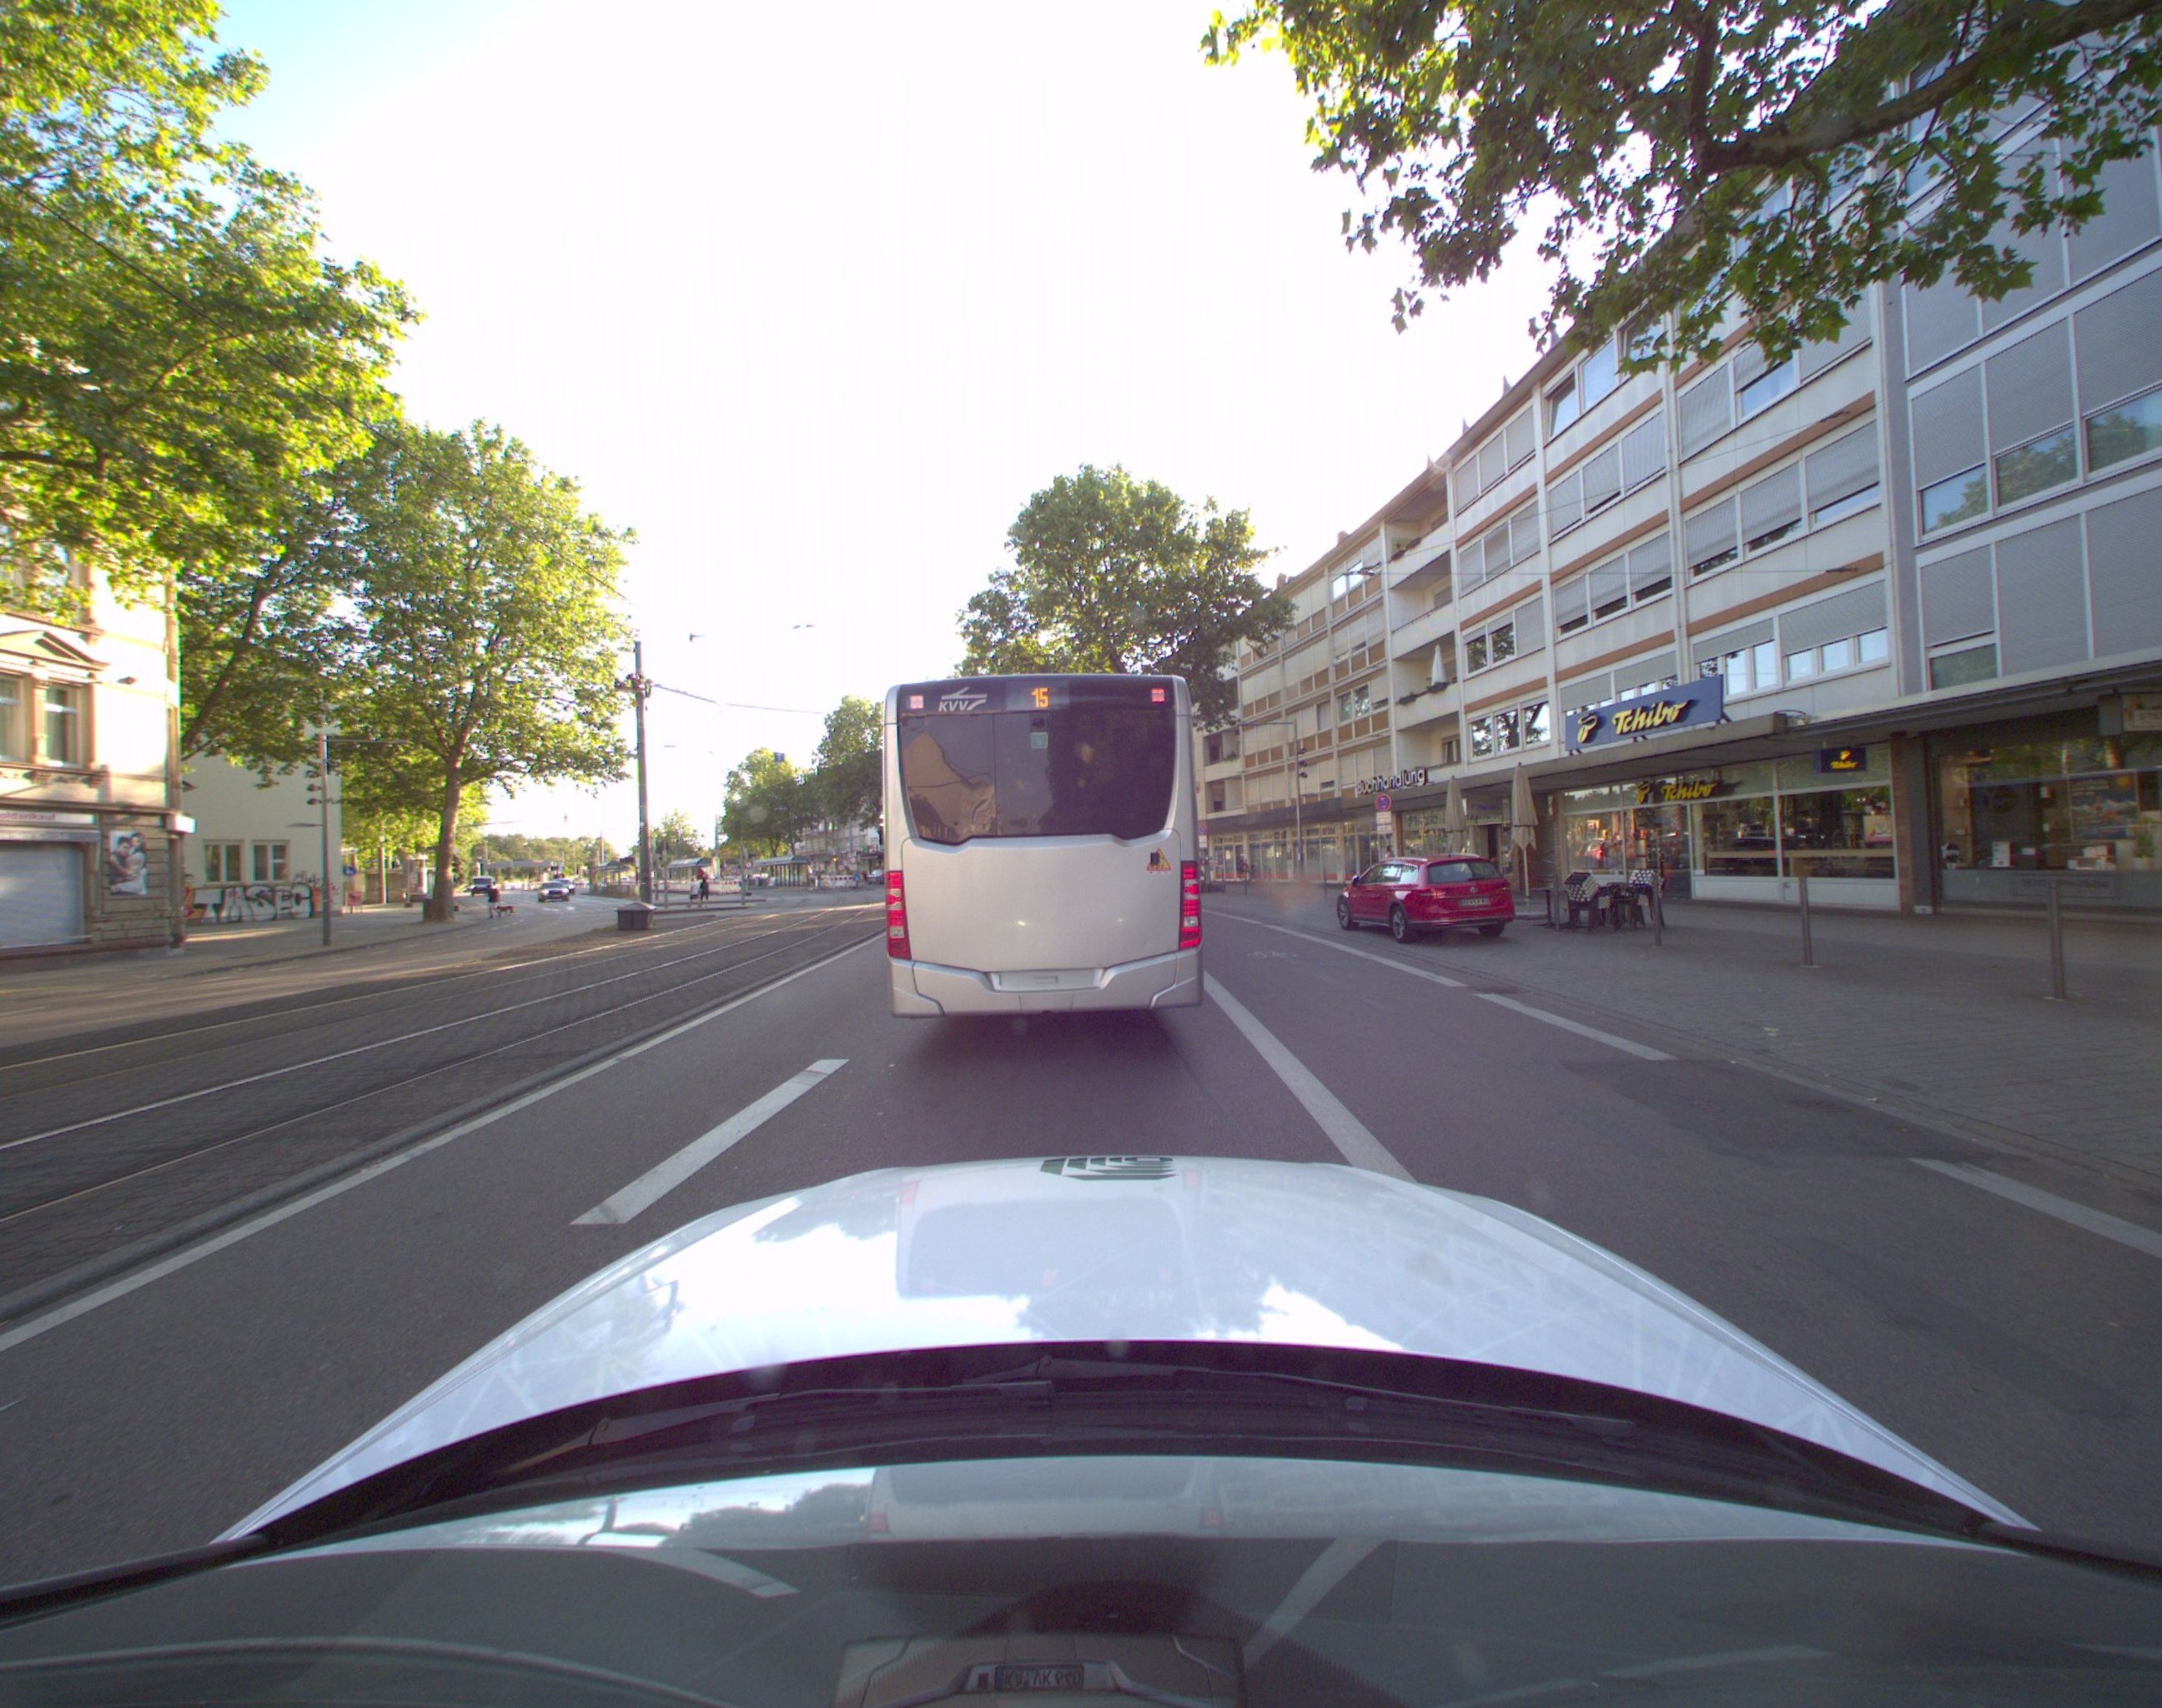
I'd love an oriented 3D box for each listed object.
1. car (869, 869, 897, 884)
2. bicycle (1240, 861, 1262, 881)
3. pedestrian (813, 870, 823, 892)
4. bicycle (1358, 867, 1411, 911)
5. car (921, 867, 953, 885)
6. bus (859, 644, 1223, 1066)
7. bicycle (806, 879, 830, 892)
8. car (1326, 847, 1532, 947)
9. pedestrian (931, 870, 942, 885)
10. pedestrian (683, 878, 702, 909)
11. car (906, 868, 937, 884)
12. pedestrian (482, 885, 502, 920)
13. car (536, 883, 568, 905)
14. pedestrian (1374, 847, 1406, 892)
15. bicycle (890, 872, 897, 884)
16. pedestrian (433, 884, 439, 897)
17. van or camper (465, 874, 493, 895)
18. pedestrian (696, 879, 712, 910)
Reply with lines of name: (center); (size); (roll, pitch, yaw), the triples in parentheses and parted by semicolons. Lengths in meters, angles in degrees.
car: (-21.468, 2.442, 88.321); (1.675, 1.468, 3.375); (-5, 2, -36)
bicycle: (9.390, 0.930, 44.952); (0.438, 1.092, 1.453); (-4, 0, -17)
pedestrian: (-21.274, 2.168, 65.854); (0.722, 1.725, 0.397); (-2, -1, -19)
bicycle: (7.847, 0.892, 21.150); (0.511, 1.070, 1.657); (-4, 0, -7)
car: (-13.737, 2.084, 77.750); (1.675, 1.516, 3.376); (-5, 2, -35)
bus: (-0.286, 0.079, 11.285); (2.649, 3.099, 10.213); (-2, -1, 0)
bicycle: (-21.398, 2.567, 66.324); (1.845, 0.942, 0.461); (-2, -1, -18)
car: (6.355, 0.722, 15.539); (1.774, 1.496, 4.563); (-4, -1, -2)
pedestrian: (-12.316, 1.998, 69.548); (0.779, 1.304, 0.590); (-2, -1, -19)
pedestrian: (-19.277, 1.971, 40.430); (0.516, 1.504, 0.596); (-2, -1, 19)
car: (-15.939, 2.225, 81.122); (1.675, 1.394, 3.374); (-5, 2, -37)
pedestrian: (-29.445, 2.406, 40.738); (0.426, 1.710, 0.681); (-1, -1, 33)
car: (-40.072, 2.986, 61.609); (1.900, 1.472, 4.161); (-1, -1, -35)
pedestrian: (10.852, 0.537, 28.625); (0.640, 1.552, 0.804); (-2, -1, -12)
bicycle: (-19.640, 2.486, 85.173); (0.508, 1.211, 2.079); (-2, -1, -19)
pedestrian: (-72.594, 4.095, 91.678); (0.519, 1.504, 0.552); (-1, -1, -36)
van or camper: (-70.118, 3.537, 94.924); (2.183, 2.319, 5.050); (-4, 0, -33)
pedestrian: (-19.013, 2.036, 41.069); (0.405, 1.504, 0.519); (-2, -1, 17)
